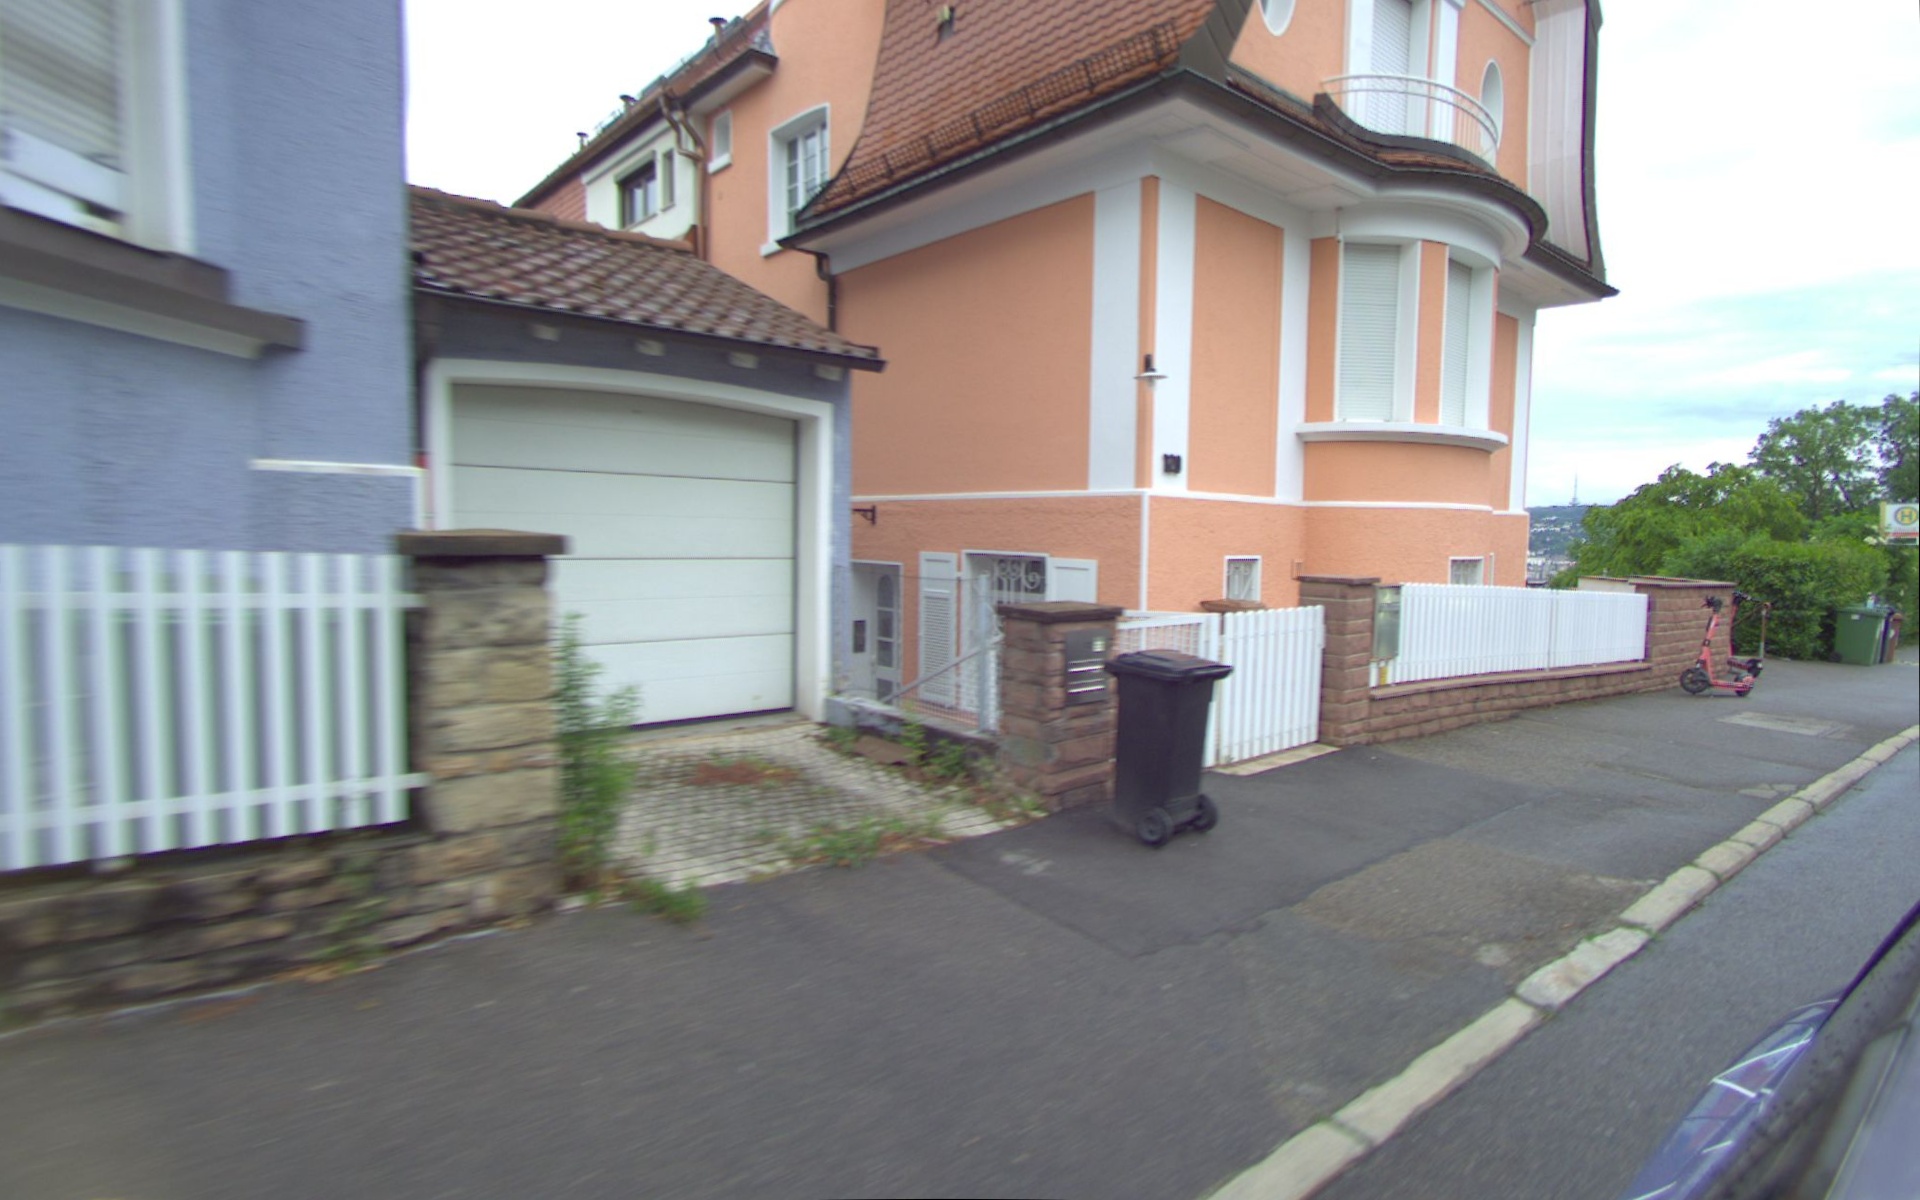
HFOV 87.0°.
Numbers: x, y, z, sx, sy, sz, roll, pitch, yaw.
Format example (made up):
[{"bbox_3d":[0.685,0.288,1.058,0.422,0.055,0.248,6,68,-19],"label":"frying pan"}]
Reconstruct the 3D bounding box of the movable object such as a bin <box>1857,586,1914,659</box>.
[{"bbox_3d":[16.697,0.385,18.262,0.671,1.261,0.614,0,2,-37],"label":"movable object such as a bin"}]

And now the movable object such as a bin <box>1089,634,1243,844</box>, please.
[{"bbox_3d":[1.049,0.676,5.168,0.480,0.929,0.533,0,6,-43],"label":"movable object such as a bin"}]

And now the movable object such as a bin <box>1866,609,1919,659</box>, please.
[{"bbox_3d":[17.203,0.620,18.655,0.579,0.874,0.614,0,2,-37],"label":"movable object such as a bin"}]

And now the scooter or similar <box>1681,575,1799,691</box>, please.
[{"bbox_3d":[9.923,0.412,12.873,1.447,1.420,0.357,1,2,-16],"label":"scooter or similar"}]

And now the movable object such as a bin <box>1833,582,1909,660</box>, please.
[{"bbox_3d":[16.029,0.351,17.803,0.900,1.260,0.728,0,6,-37],"label":"movable object such as a bin"}]

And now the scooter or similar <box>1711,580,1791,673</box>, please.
[{"bbox_3d":[12.093,0.376,15.514,0.350,1.287,1.291,2,4,11],"label":"scooter or similar"}]
